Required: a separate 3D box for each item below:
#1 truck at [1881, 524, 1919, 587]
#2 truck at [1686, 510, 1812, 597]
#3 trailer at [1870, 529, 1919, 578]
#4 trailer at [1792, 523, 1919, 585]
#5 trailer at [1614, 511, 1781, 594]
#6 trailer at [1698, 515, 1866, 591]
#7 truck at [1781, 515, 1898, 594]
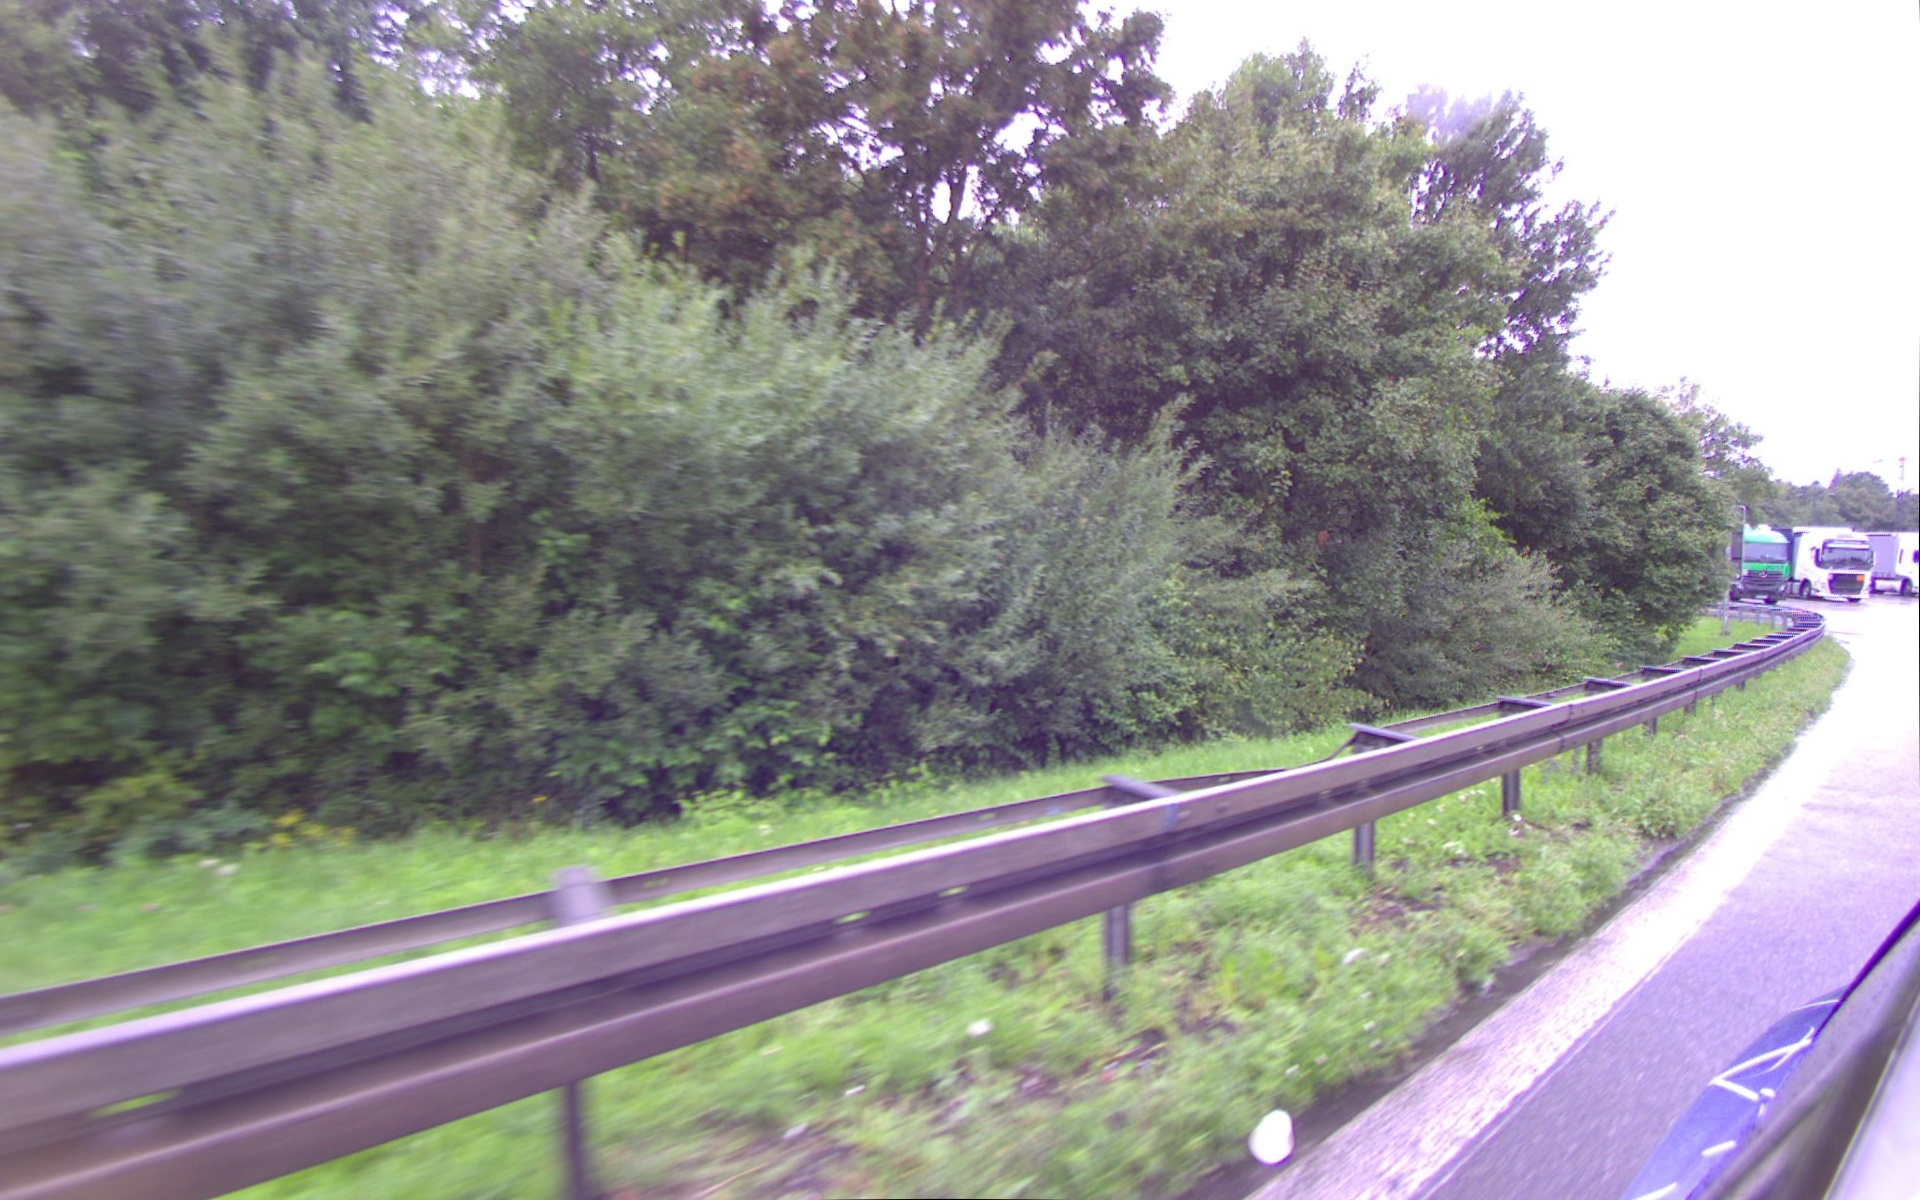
[{"bbox_3d":[62.251,-2.825,64.574,2.791,3.959,5.388,2,4,15],"label":"truck"},{"bbox_3d":[40.788,-2.469,52.565,2.786,4.199,5.975,2,4,15],"label":"truck"},{"bbox_3d":[79.289,-3.664,80.788,2.830,3.965,16.557,2,4,17],"label":"trailer"},{"bbox_3d":[64.126,-3.331,71.348,2.804,3.965,13.896,2,4,15],"label":"trailer"},{"bbox_3d":[42.560,-2.928,59.230,2.786,4.198,13.915,2,4,14],"label":"trailer"},{"bbox_3d":[51.182,-3.117,63.740,2.788,4.220,13.933,2,4,16],"label":"trailer"},{"bbox_3d":[49.185,-2.624,56.812,2.788,4.195,5.279,2,4,16],"label":"truck"}]
